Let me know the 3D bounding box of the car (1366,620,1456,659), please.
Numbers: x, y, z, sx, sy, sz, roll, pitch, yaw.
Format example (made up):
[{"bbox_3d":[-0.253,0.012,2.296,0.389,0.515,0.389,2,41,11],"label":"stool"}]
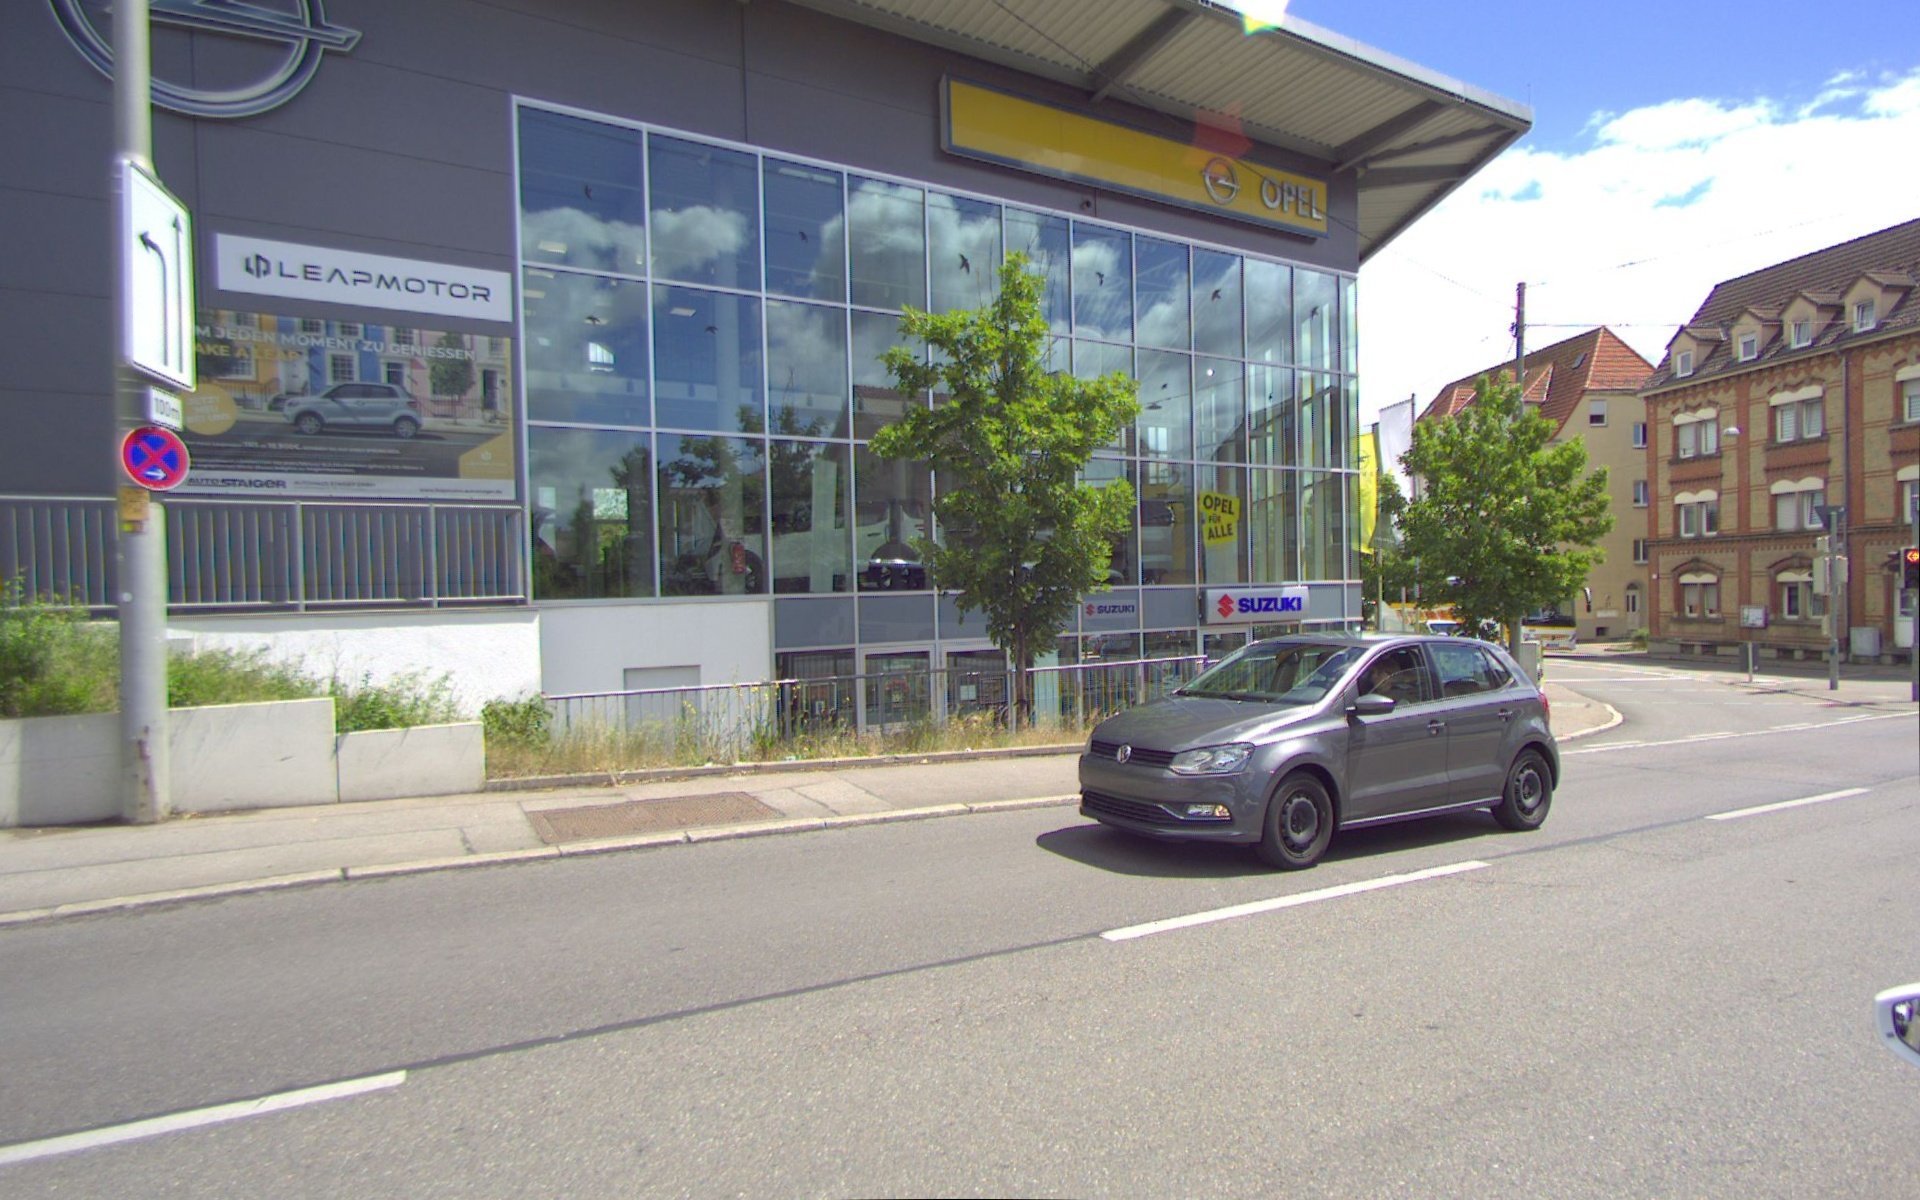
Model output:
[{"bbox_3d":[19.647,1.746,43.943,1.798,1.572,4.306,2,-3,-3],"label":"car"}]

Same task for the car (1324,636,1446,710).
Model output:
[{"bbox_3d":[10.432,1.752,24.899,1.648,1.582,3.365,-1,0,1],"label":"car"}]

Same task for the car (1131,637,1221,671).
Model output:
[{"bbox_3d":[10.546,2.653,49.213,3.925,1.574,1.806,1,-1,-7],"label":"car"}]

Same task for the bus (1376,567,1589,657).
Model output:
[{"bbox_3d":[24.068,0.403,47.467,2.719,3.670,12.253,1,1,-5],"label":"bus"}]

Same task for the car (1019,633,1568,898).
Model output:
[{"bbox_3d":[2.448,0.983,7.244,3.690,1.431,1.751,1,-3,-31],"label":"car"}]
